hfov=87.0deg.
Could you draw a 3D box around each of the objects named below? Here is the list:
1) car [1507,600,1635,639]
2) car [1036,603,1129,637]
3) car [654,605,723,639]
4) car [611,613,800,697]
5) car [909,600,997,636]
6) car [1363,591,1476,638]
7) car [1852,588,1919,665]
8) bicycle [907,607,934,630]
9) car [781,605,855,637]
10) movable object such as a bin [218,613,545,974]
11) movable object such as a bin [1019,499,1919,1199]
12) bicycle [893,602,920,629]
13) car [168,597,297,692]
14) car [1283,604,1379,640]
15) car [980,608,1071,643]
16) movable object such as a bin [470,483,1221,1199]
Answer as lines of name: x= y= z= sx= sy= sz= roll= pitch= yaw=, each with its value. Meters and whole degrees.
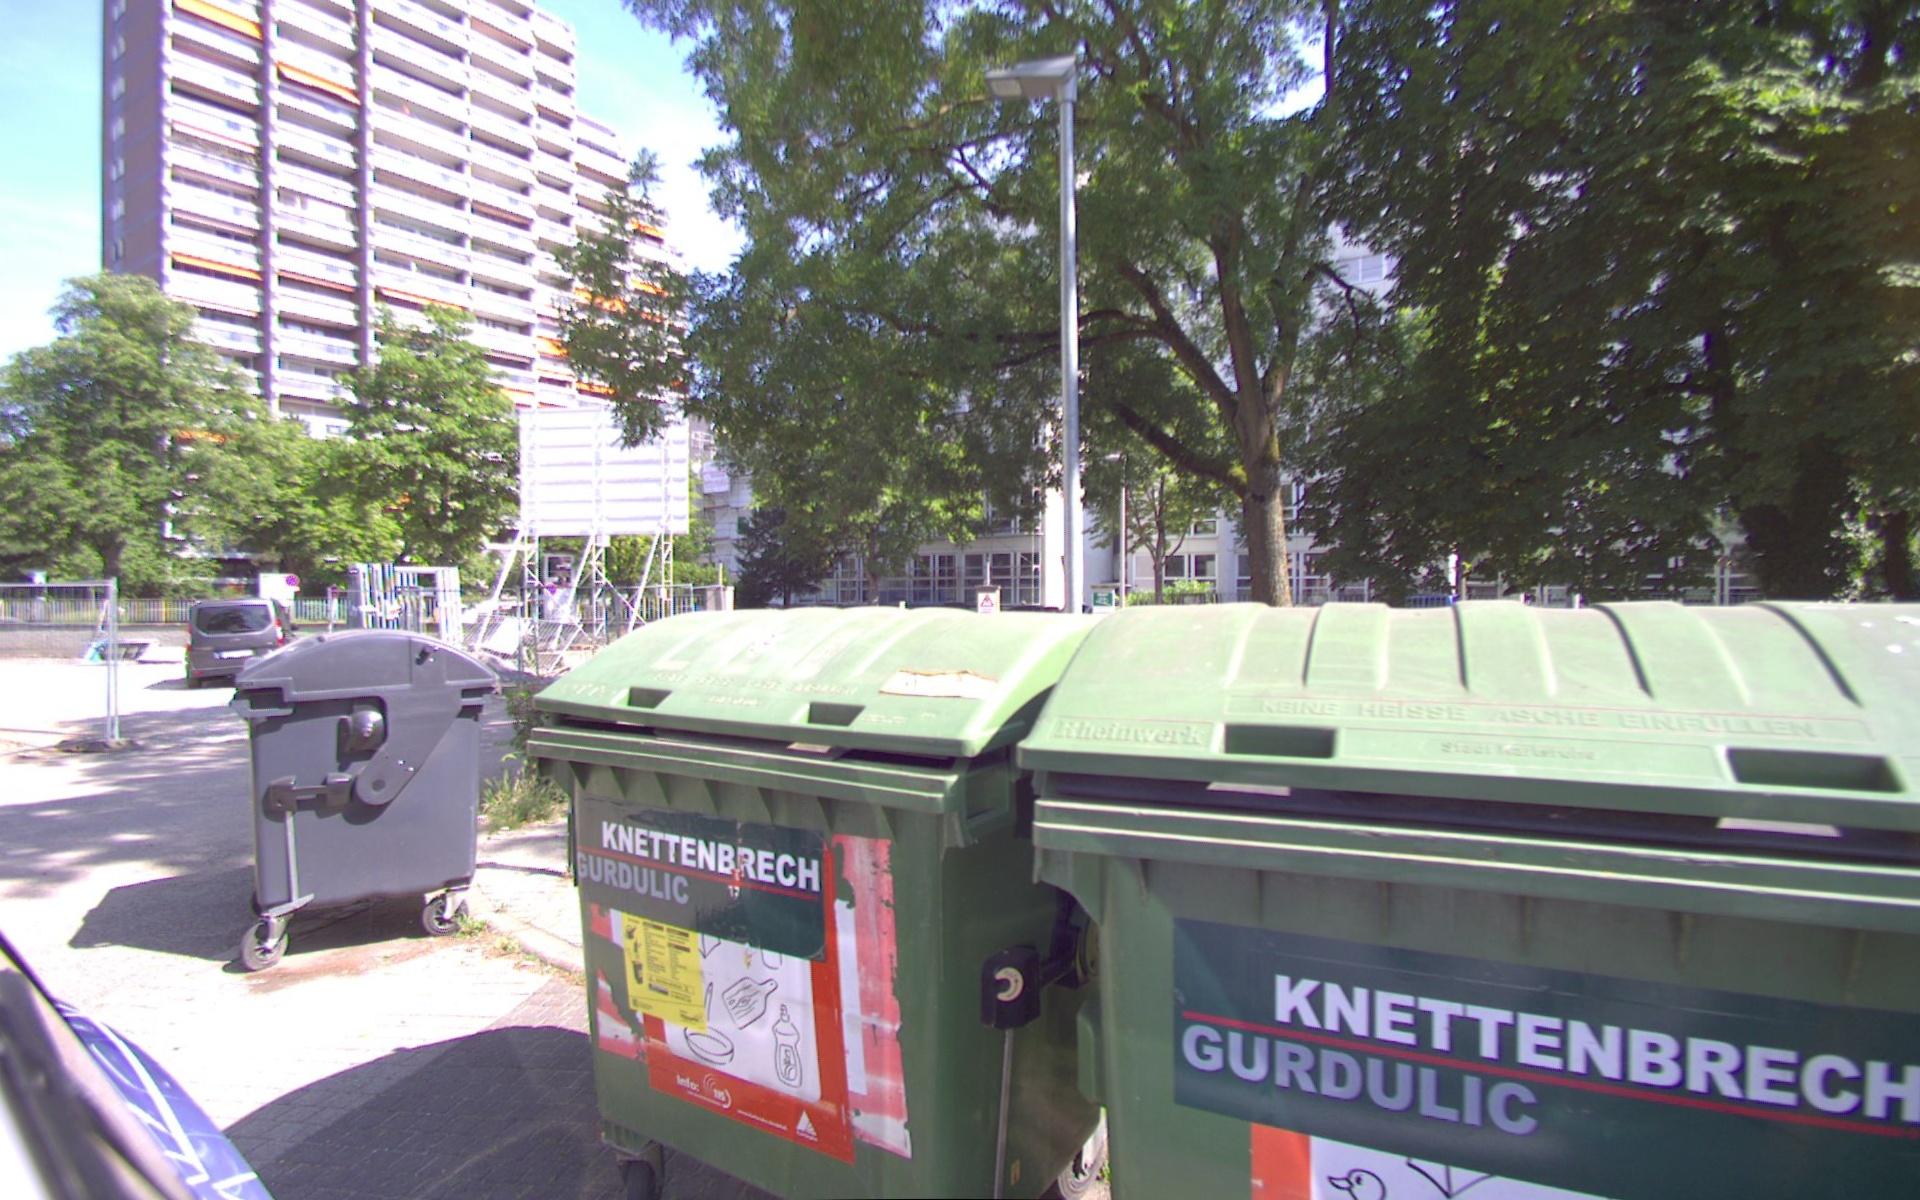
car: x=25.436 y=0.826 z=42.247 sx=1.753 sy=1.550 sz=4.229 roll=1 pitch=-2 yaw=-36
car: x=5.571 y=0.914 z=46.567 sx=1.772 sy=1.497 sz=4.350 roll=0 pitch=-1 yaw=-36
car: x=-13.174 y=1.026 z=48.944 sx=1.813 sy=1.420 sz=4.157 roll=-2 pitch=2 yaw=-37
car: x=-4.683 y=0.975 z=19.254 sx=1.647 sy=1.423 sz=4.153 roll=-1 pitch=-1 yaw=16
car: x=-0.375 y=0.843 z=46.973 sx=1.779 sy=1.577 sz=4.400 roll=0 pitch=-1 yaw=-38
car: x=19.399 y=0.632 z=42.884 sx=1.758 sy=1.921 sz=4.009 roll=1 pitch=-2 yaw=-36
car: x=25.756 y=0.664 z=25.864 sx=3.979 sy=1.929 sz=1.982 roll=-1 pitch=-2 yaw=27
bicycle: x=-2.109 y=0.991 z=54.201 sx=0.487 sy=1.209 sz=1.997 roll=-1 pitch=-1 yaw=28
car: x=-6.752 y=0.969 z=47.855 sx=1.627 sy=1.463 sz=4.008 roll=0 pitch=0 yaw=-38
movable object such as a bin: x=-2.838 y=0.777 z=4.938 sx=1.227 sy=1.407 sz=1.408 roll=0 pitch=0 yaw=-35
movable object such as a bin: x=0.889 y=0.634 z=1.569 sx=1.217 sy=1.442 sz=1.237 roll=-1 pitch=0 yaw=26
bicycle: x=-2.900 y=0.828 z=54.862 sx=0.487 sy=1.389 sz=1.997 roll=-1 pitch=-1 yaw=28
car: x=-15.731 y=0.880 z=22.091 sx=1.889 sy=1.794 sz=4.325 roll=-2 pitch=1 yaw=-31
car: x=16.023 y=0.941 z=43.897 sx=1.680 sy=1.474 sz=3.862 roll=0 pitch=-1 yaw=-25
car: x=2.945 y=1.142 z=46.382 sx=1.773 sy=1.487 sz=4.193 roll=0 pitch=-1 yaw=-39
movable object such as a bin: x=-0.212 y=0.571 z=2.444 sx=1.334 sy=1.492 sz=1.235 roll=-1 pitch=0 yaw=31
